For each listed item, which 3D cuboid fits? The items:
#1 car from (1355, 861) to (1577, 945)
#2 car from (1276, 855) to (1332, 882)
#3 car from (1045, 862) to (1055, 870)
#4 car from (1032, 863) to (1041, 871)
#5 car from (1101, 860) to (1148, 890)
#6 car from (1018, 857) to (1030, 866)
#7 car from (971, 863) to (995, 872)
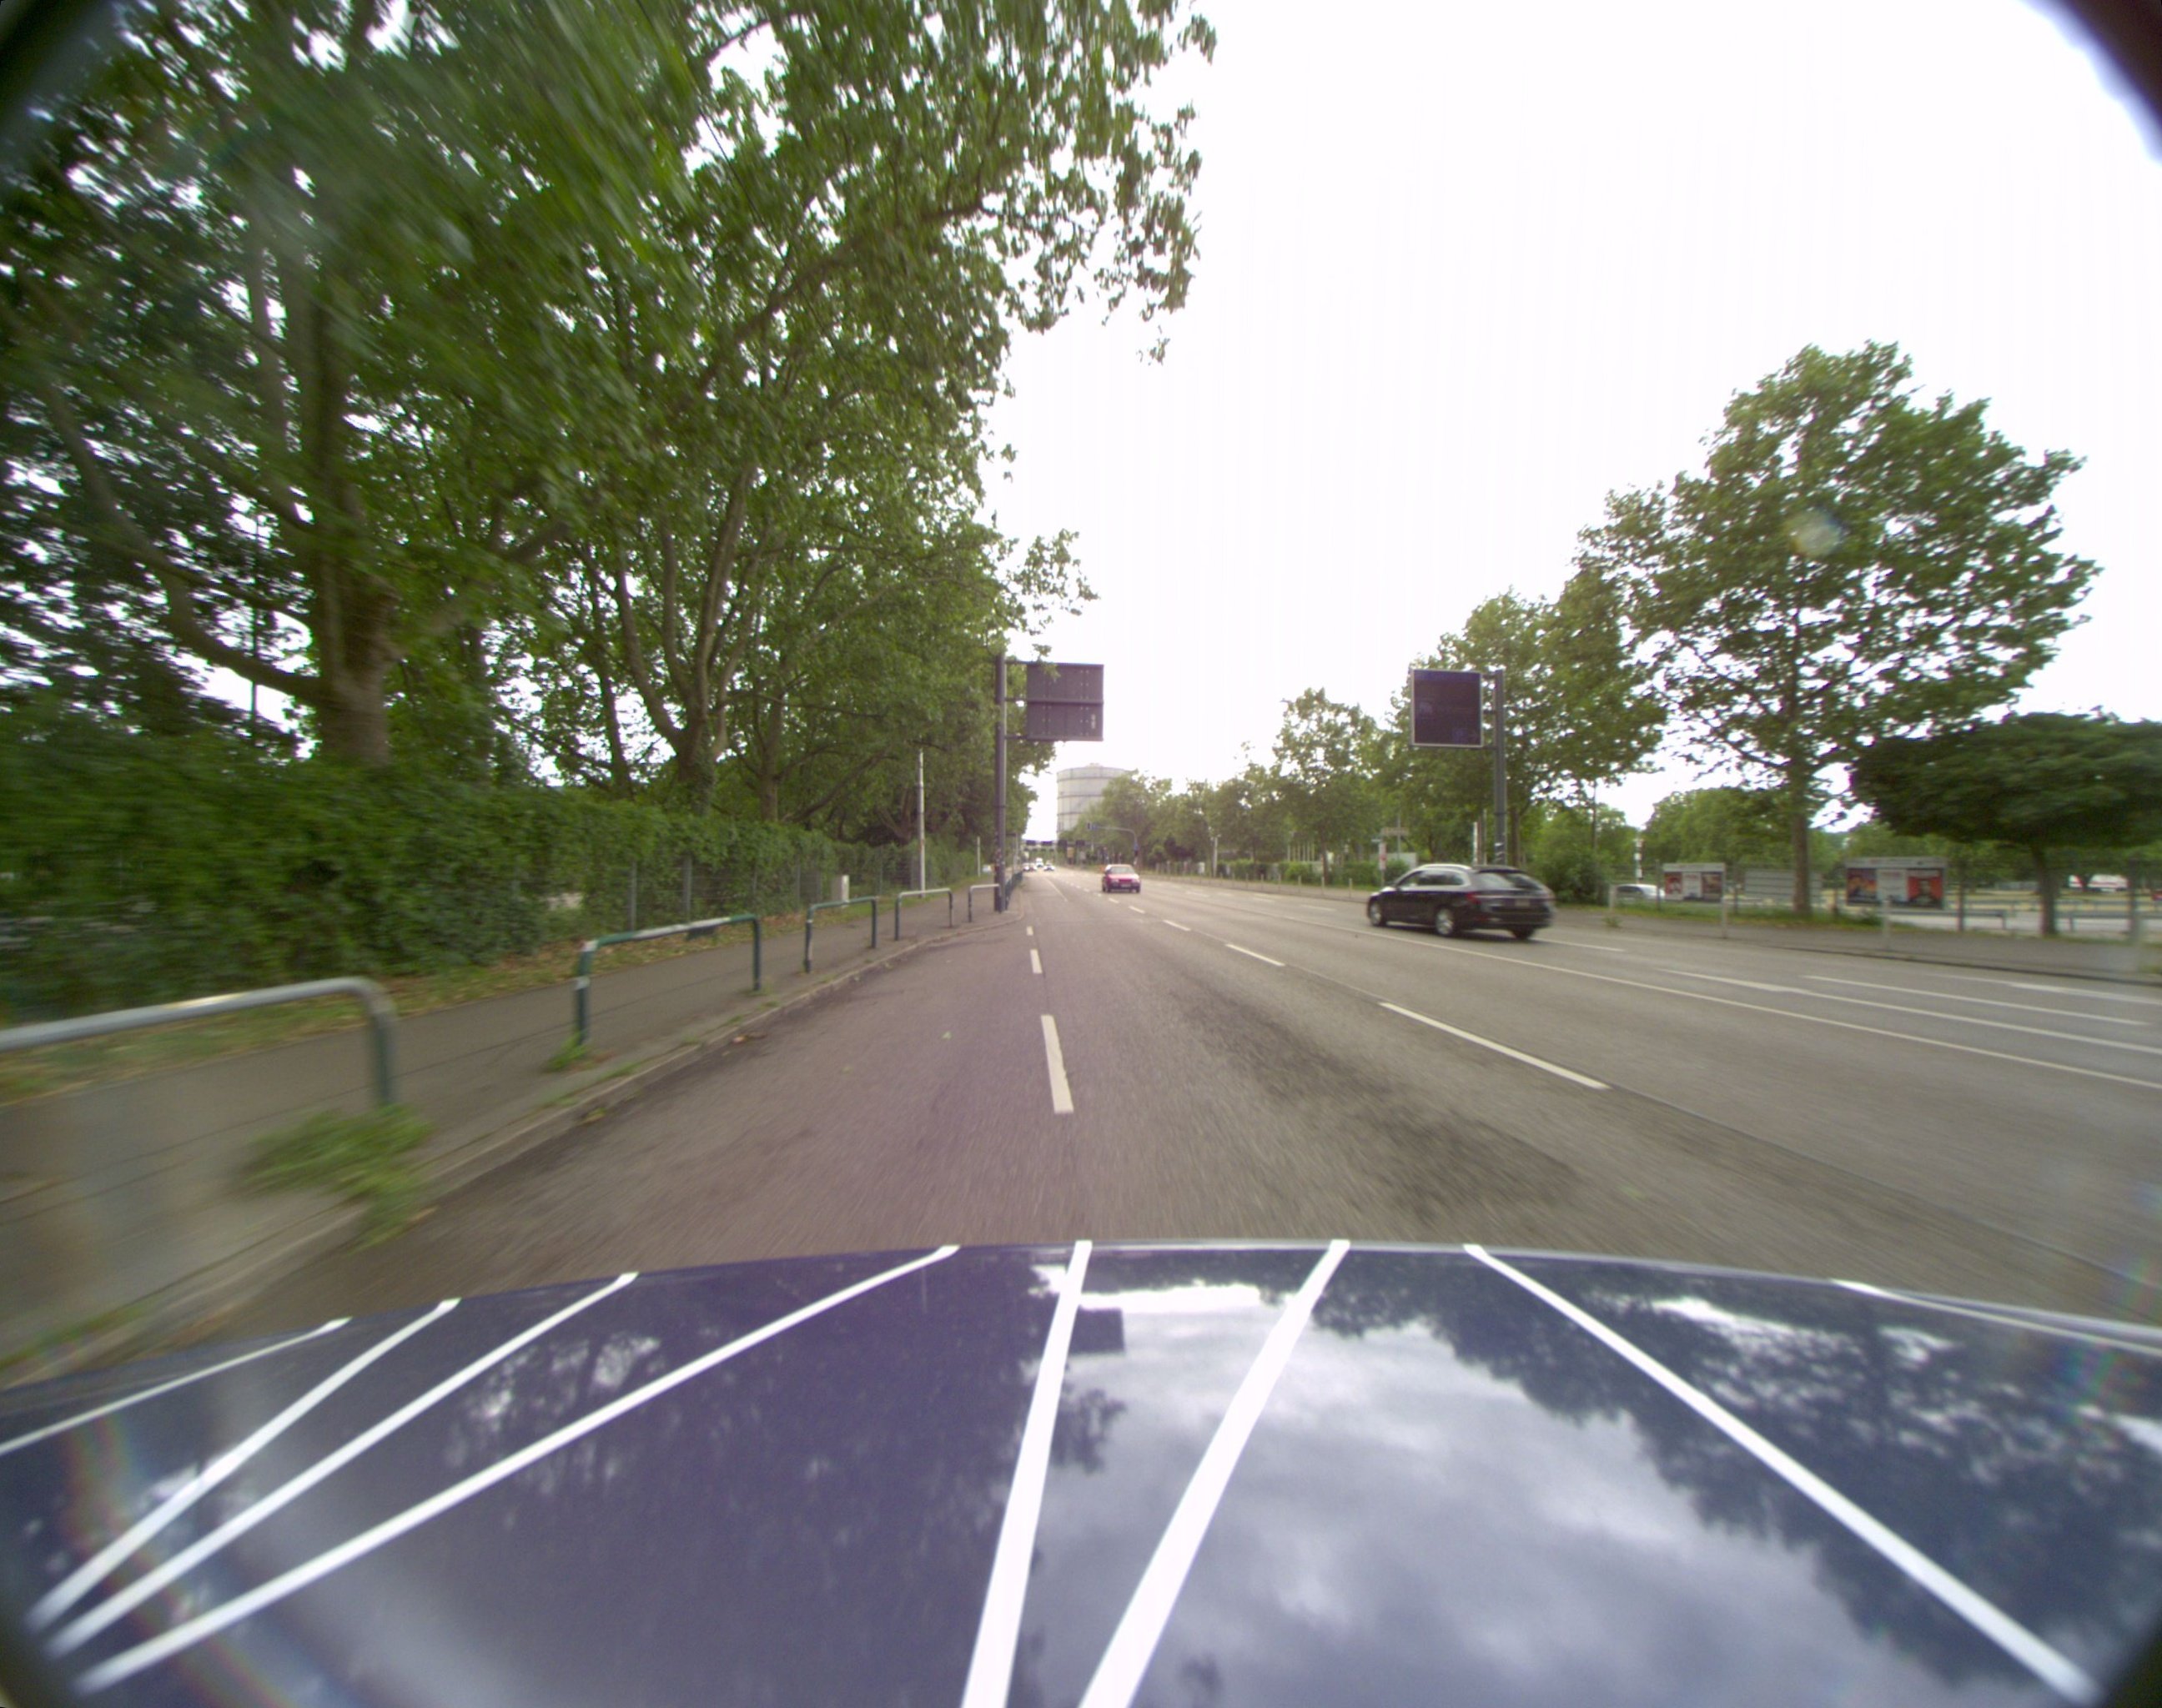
[{"bbox_3d":[7.902,0.919,16.245,2.000,1.521,4.723,1,0,-6],"label":"car"},{"bbox_3d":[17.254,1.101,59.031,2.394,2.002,4.632,1,0,-9],"label":"car"},{"bbox_3d":[-6.110,2.342,149.641,1.799,1.501,3.998,0,0,-4],"label":"car"},{"bbox_3d":[-8.737,2.461,149.350,1.799,1.501,3.998,0,0,-4],"label":"car"},{"bbox_3d":[2.186,1.058,39.279,1.834,1.443,4.074,-1,0,-5],"label":"car"},{"bbox_3d":[-10.201,1.381,136.125,1.799,1.501,4.000,-2,0,0],"label":"car"},{"bbox_3d":[-16.140,2.214,125.589,1.737,1.363,3.880,0,-1,35],"label":"car"}]
